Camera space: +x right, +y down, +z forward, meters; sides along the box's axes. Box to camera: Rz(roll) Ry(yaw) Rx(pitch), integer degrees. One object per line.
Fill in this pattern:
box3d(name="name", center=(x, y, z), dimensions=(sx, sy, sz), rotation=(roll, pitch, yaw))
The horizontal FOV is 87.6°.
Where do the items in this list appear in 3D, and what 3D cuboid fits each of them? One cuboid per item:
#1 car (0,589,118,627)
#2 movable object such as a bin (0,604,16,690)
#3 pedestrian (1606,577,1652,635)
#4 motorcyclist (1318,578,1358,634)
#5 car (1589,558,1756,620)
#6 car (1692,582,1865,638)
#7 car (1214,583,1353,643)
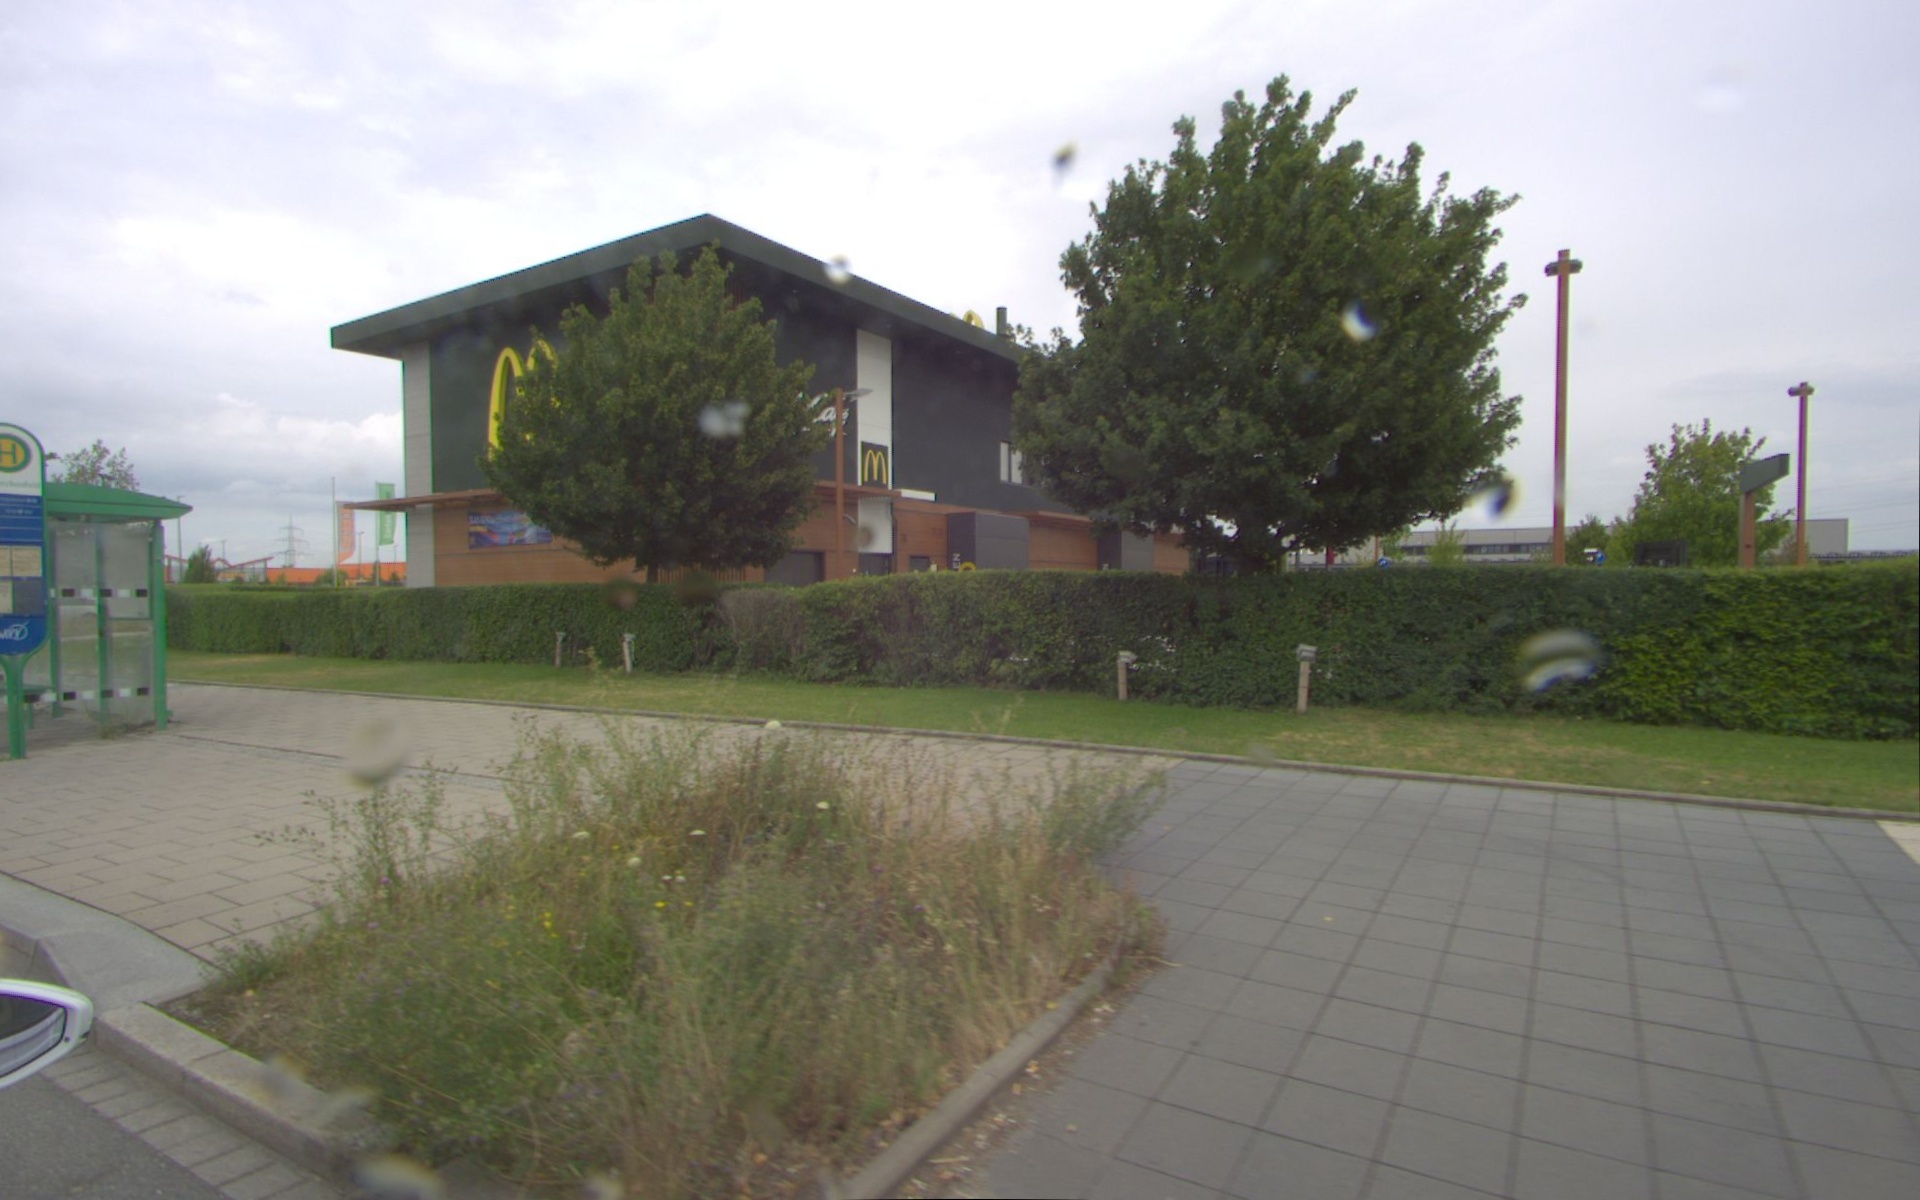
box3d(name="car", center=(-44.895, 0.405, 49.650), dimensions=(1.978, 1.780, 4.578), rotation=(0, 0, 42))
box3d(name="movable object such as a bin", center=(-9.229, 0.443, 9.396), dimensions=(0.374, 0.808, 0.455), rotation=(0, 0, 31))
box3d(name="pedestrian", center=(17.095, 0.147, 25.609), dimensions=(0.755, 1.458, 0.624), rotation=(0, 1, 2))
box3d(name="motorcyclist", center=(12.656, 0.210, 33.520), dimensions=(0.948, 1.856, 0.843), rotation=(0, 0, -20))
box3d(name="car", center=(30.689, -0.479, 43.204), dimensions=(5.932, 2.562, 2.280), rotation=(0, 1, -8))
box3d(name="car", center=(25.896, 0.286, 31.715), dimensions=(4.650, 1.678, 1.996), rotation=(-1, 0, -17))
box3d(name="car", center=(9.958, 0.401, 31.168), dimensions=(2.085, 1.739, 4.222), rotation=(0, 0, -17))
